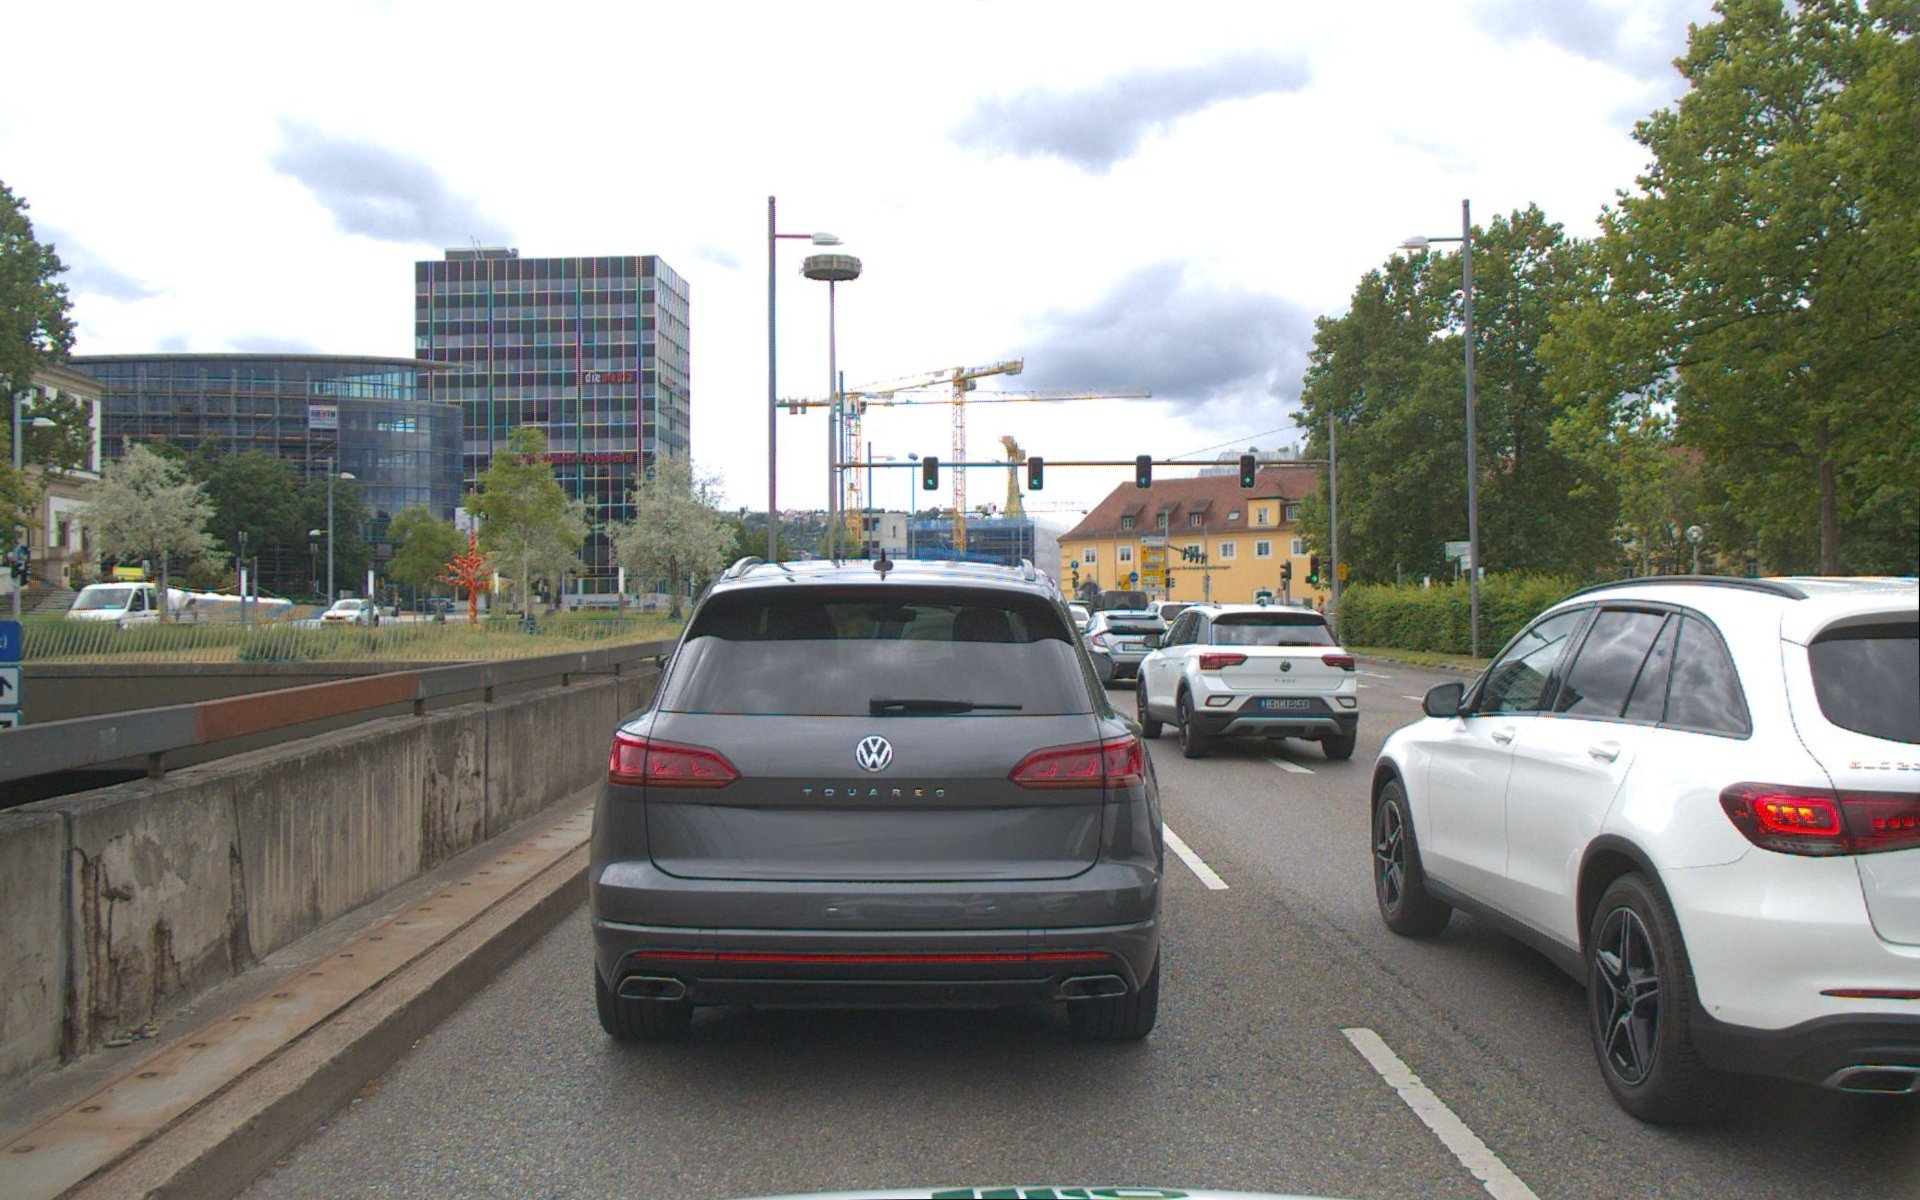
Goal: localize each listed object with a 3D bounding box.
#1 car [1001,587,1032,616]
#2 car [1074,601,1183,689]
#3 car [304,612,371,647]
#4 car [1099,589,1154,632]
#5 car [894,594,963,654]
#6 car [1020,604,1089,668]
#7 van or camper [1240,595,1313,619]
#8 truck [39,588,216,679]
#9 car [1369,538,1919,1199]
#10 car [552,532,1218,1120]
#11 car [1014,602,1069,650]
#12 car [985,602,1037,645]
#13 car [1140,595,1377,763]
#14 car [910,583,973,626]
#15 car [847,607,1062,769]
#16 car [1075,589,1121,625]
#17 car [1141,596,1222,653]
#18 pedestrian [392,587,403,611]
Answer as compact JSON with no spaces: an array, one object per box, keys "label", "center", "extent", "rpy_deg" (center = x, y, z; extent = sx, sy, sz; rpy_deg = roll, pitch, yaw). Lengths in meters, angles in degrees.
[{"label":"car","center":[3.983,0.103,116.827],"extent":[1.953,2.049,3.999],"rpy_deg":[0,0,-1]},{"label":"car","center":[3.172,0.809,31.794],"extent":[1.683,1.529,4.144],"rpy_deg":[0,0,0]},{"label":"car","center":[-31.820,1.487,84.698],"extent":[1.683,1.602,4.613],"rpy_deg":[0,1,0]},{"label":"car","center":[6.119,0.360,61.126],"extent":[1.683,1.529,3.981],"rpy_deg":[0,0,0]},{"label":"car","center":[-0.845,0.610,44.566],"extent":[1.777,1.522,3.905],"rpy_deg":[0,0,-1]},{"label":"car","center":[2.406,0.884,42.593],"extent":[1.683,1.529,3.982],"rpy_deg":[0,0,2]},{"label":"van or camper","center":[27.291,0.607,142.668],"extent":[5.902,2.049,2.012],"rpy_deg":[0,-1,35]},{"label":"truck","center":[-28.114,1.041,56.224],"extent":[2.413,2.865,7.079],"rpy_deg":[0,1,0]},{"label":"car","center":[2.960,0.681,6.230],"extent":[1.781,1.676,4.379],"rpy_deg":[0,0,0]},{"label":"car","center":[-0.238,0.639,6.738],"extent":[1.893,1.676,3.999],"rpy_deg":[0,0,-1]},{"label":"car","center":[2.738,0.864,56.399],"extent":[1.683,1.529,3.981],"rpy_deg":[0,0,0]},{"label":"car","center":[2.143,0.965,69.152],"extent":[2.095,1.758,4.071],"rpy_deg":[0,0,2]},{"label":"car","center":[3.120,0.763,18.032],"extent":[1.855,1.613,3.800],"rpy_deg":[0,0,-1]},{"label":"car","center":[-0.637,0.150,60.918],"extent":[2.198,1.529,4.611],"rpy_deg":[0,0,0]},{"label":"car","center":[-0.075,0.807,17.034],"extent":[1.953,1.411,3.999],"rpy_deg":[0,1,-1]},{"label":"car","center":[5.984,0.271,72.201],"extent":[1.683,1.529,3.981],"rpy_deg":[0,0,0]},{"label":"car","center":[6.227,0.655,46.864],"extent":[1.766,1.529,3.981],"rpy_deg":[0,0,0]},{"label":"pedestrian","center":[-39.199,-0.094,115.318],"extent":[0.513,1.678,0.650],"rpy_deg":[1,-1,-2]}]
